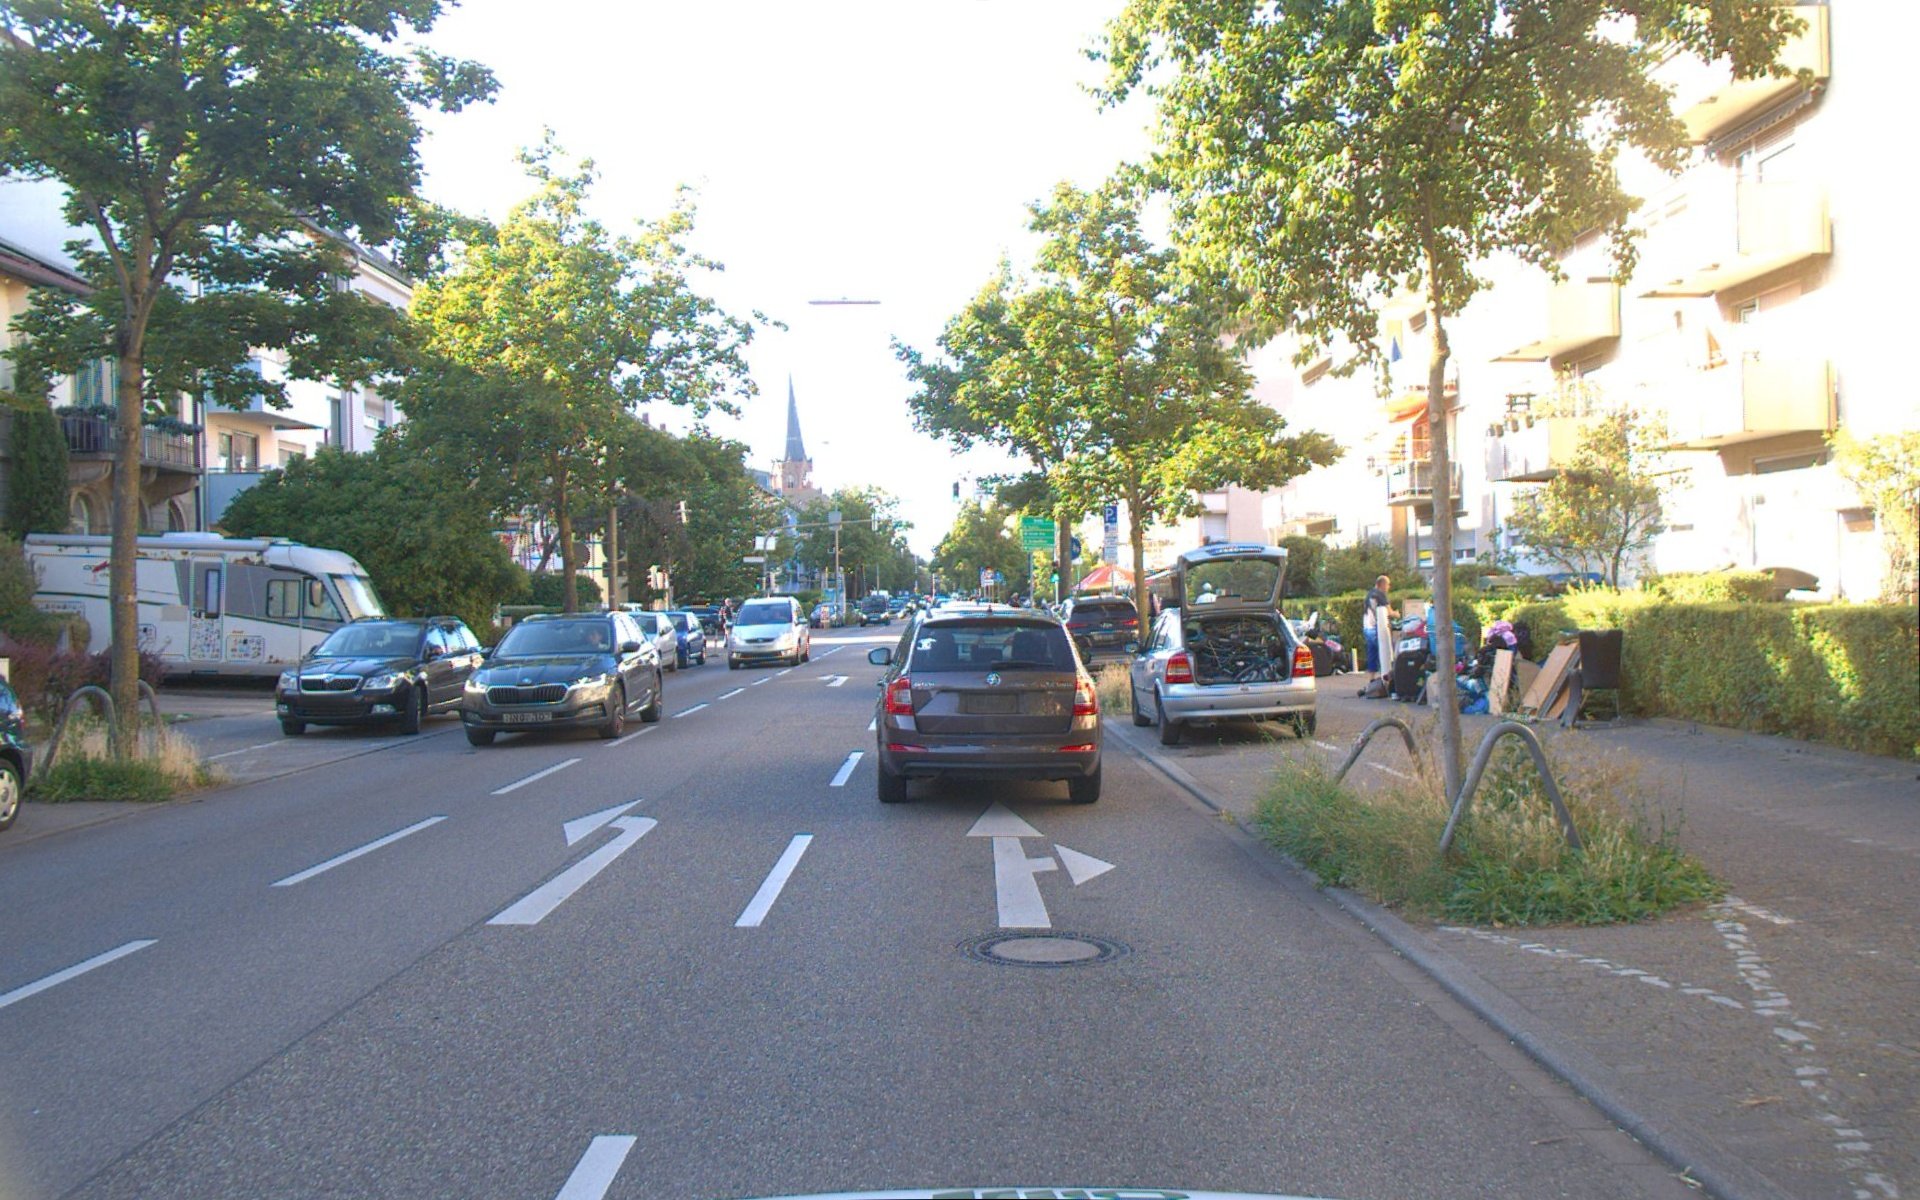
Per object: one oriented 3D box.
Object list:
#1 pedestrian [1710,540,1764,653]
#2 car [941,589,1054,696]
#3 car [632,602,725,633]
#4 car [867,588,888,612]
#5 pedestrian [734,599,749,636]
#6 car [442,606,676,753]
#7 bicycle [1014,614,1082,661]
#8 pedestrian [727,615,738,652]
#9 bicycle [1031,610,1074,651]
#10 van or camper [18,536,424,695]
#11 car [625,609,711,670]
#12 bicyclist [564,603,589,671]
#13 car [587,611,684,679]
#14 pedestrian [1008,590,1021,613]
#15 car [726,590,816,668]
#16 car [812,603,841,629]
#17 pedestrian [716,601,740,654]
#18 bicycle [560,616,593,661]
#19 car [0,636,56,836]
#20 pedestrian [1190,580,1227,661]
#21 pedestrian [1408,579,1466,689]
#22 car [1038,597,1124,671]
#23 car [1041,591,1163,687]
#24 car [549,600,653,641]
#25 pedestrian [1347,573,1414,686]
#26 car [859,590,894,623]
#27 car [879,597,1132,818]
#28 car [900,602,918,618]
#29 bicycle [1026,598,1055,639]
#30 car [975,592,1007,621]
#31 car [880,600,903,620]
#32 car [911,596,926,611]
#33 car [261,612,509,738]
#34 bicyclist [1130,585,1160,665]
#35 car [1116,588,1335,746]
[{"bbox_3d":[11.675,-0.053,24.855,0.467,1.668,0.533,-1,0,-20],"label":"pedestrian"},{"bbox_3d":[0.584,0.647,27.091,1.701,1.598,4.000,1,0,0],"label":"car"},{"bbox_3d":[-14.569,0.923,85.765,4.540,1.562,1.861,0,0,-1],"label":"car"},{"bbox_3d":[-8.887,0.030,178.454,1.953,2.521,3.999,-1,0,-1],"label":"car"},{"bbox_3d":[-10.944,0.858,82.791,0.603,1.828,0.504,-2,0,0],"label":"pedestrian"},{"bbox_3d":[-4.762,0.878,20.303,1.725,1.477,4.533,-3,0,-1],"label":"car"},{"bbox_3d":[2.483,1.040,46.443,1.796,1.177,0.684,-4,-1,6],"label":"bicycle"},{"bbox_3d":[-11.465,1.665,83.265,0.440,1.828,0.504,-2,0,0],"label":"pedestrian"},{"bbox_3d":[2.510,0.820,44.817,0.606,1.069,1.572,-2,0,25],"label":"bicycle"},{"bbox_3d":[-14.063,0.297,31.822,6.660,2.821,2.351,1,0,-2],"label":"van or camper"},{"bbox_3d":[-7.739,1.011,44.140,1.615,1.544,4.073,0,0,0],"label":"car"},{"bbox_3d":[-9.632,0.922,41.554,0.459,1.692,0.552,-1,0,-1],"label":"bicyclist"},{"bbox_3d":[-7.703,1.028,39.511,1.561,1.496,3.803,1,0,0],"label":"car"},{"bbox_3d":[4.230,0.108,128.156,0.661,1.734,0.800,-1,0,26],"label":"pedestrian"},{"bbox_3d":[-4.869,0.718,43.157,1.769,1.836,4.744,-3,0,-1],"label":"car"},{"bbox_3d":[-8.203,0.976,101.882,1.491,1.482,3.584,-1,0,0],"label":"car"},{"bbox_3d":[-9.124,1.081,65.080,0.764,2.022,0.821,-2,0,0],"label":"pedestrian"},{"bbox_3d":[-9.620,0.957,41.482,0.476,1.083,1.534,-1,0,-1],"label":"bicycle"},{"bbox_3d":[-7.654,0.998,10.791,1.511,1.421,3.665,-1,0,-1],"label":"car"},{"bbox_3d":[5.588,0.461,37.264,0.649,1.779,0.772,-3,0,2],"label":"pedestrian"},{"bbox_3d":[6.988,0.492,24.241,0.582,1.567,0.693,-2,0,36],"label":"pedestrian"},{"bbox_3d":[2.630,0.720,36.808,1.668,1.475,4.014,-3,0,2],"label":"car"},{"bbox_3d":[2.615,0.689,31.285,1.818,1.609,4.012,-3,0,-1],"label":"car"},{"bbox_3d":[-17.282,0.966,79.736,4.540,1.843,1.861,-1,0,-1],"label":"car"},{"bbox_3d":[6.319,0.436,24.832,0.742,1.668,0.693,-2,0,36],"label":"pedestrian"},{"bbox_3d":[-5.316,0.398,105.581,1.953,1.942,4.963,-3,0,-1],"label":"car"},{"bbox_3d":[0.279,0.739,13.528,1.737,1.515,4.310,0,0,-1],"label":"car"},{"bbox_3d":[-5.222,1.057,169.413,1.751,1.598,4.000,1,0,0],"label":"car"},{"bbox_3d":[2.355,0.551,48.679,0.492,1.167,1.956,-4,0,-6],"label":"bicycle"},{"bbox_3d":[1.998,0.397,106.274,1.952,1.803,4.001,1,0,2],"label":"car"},{"bbox_3d":[-5.811,0.842,140.818,1.793,1.607,3.999,-2,0,0],"label":"car"},{"bbox_3d":[-5.948,0.526,237.839,1.953,2.049,4.000,-1,0,0],"label":"car"},{"bbox_3d":[-7.721,0.943,22.687,1.829,1.521,4.517,0,0,0],"label":"car"},{"bbox_3d":[4.277,0.563,38.226,0.569,1.820,0.852,-1,0,-1],"label":"bicyclist"},{"bbox_3d":[2.894,0.678,18.877,1.673,1.506,4.267,-3,0,-1],"label":"car"}]
